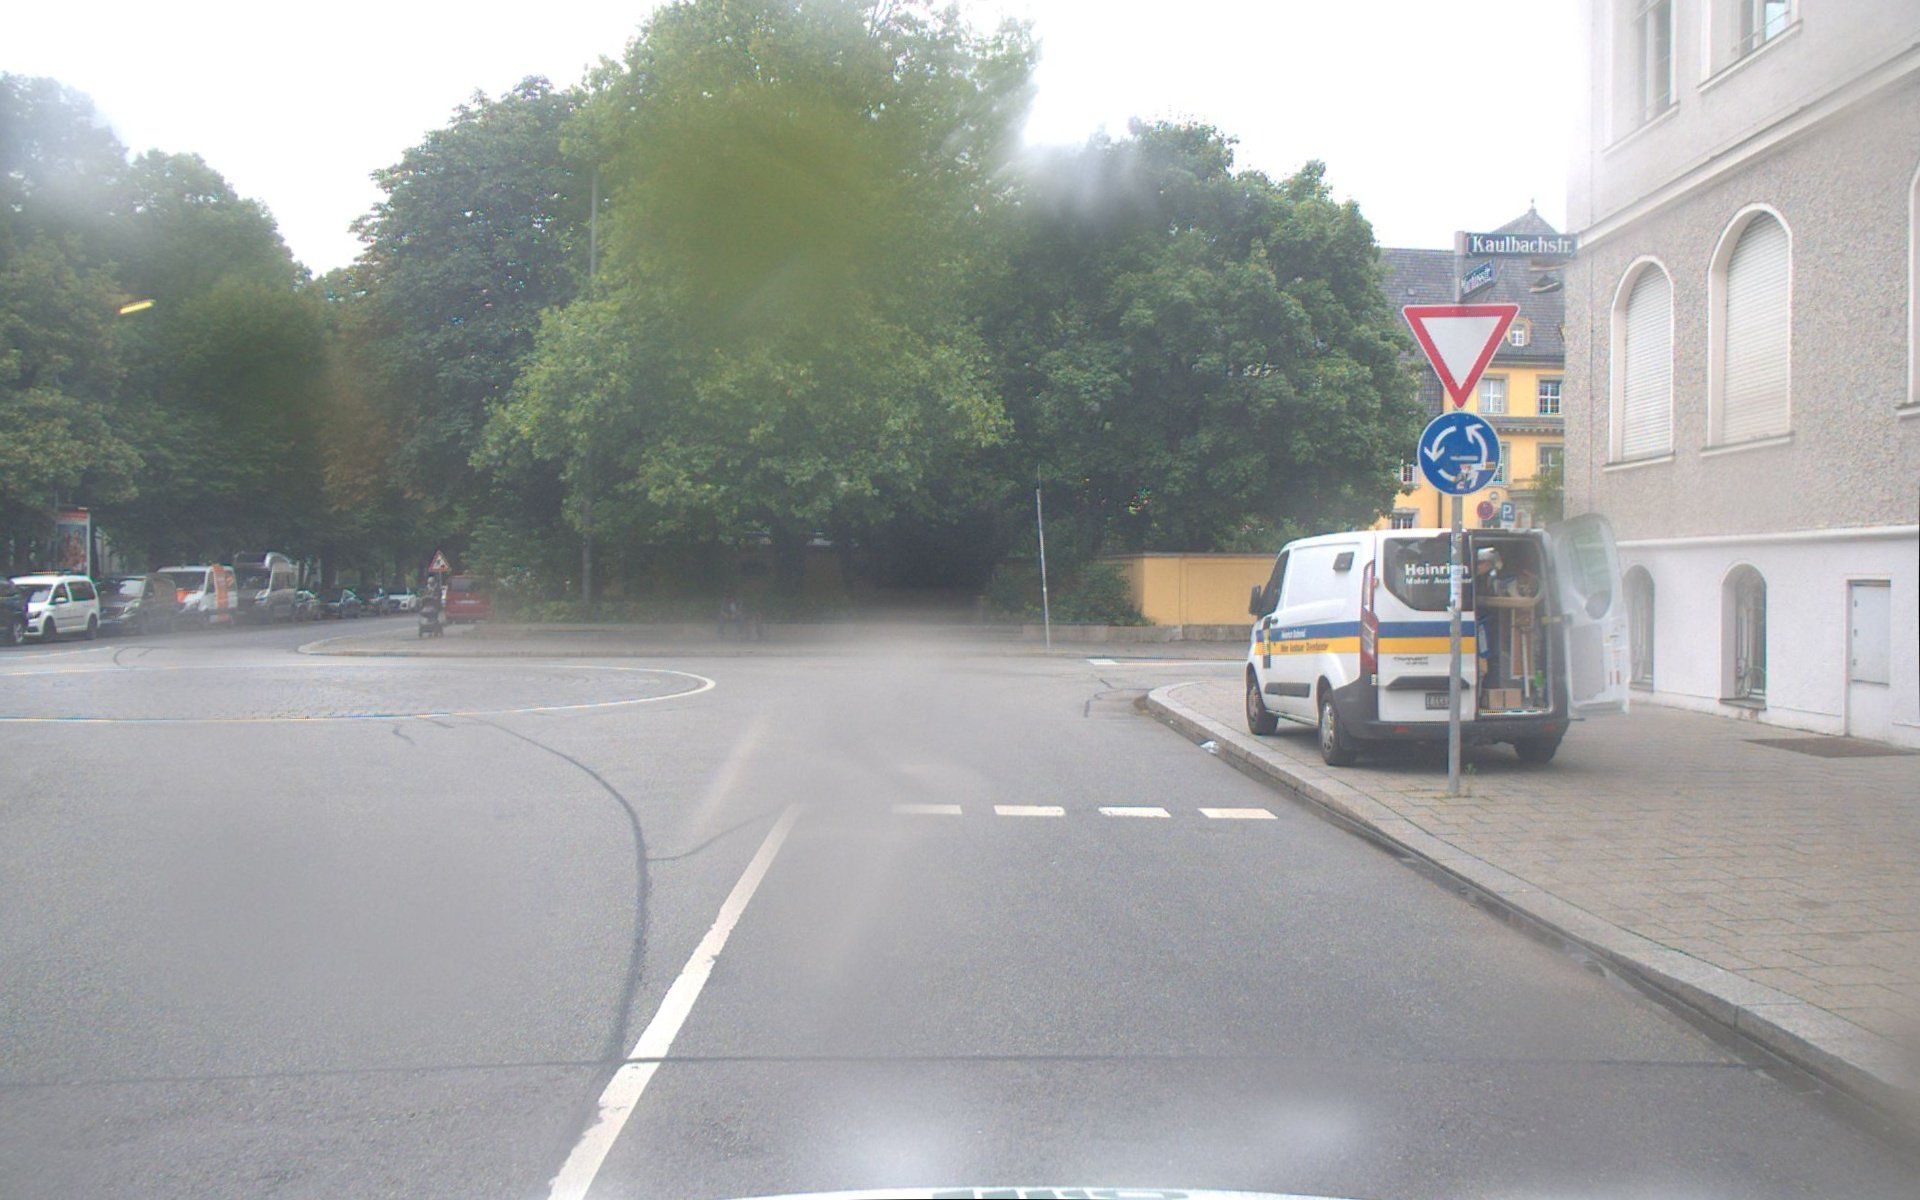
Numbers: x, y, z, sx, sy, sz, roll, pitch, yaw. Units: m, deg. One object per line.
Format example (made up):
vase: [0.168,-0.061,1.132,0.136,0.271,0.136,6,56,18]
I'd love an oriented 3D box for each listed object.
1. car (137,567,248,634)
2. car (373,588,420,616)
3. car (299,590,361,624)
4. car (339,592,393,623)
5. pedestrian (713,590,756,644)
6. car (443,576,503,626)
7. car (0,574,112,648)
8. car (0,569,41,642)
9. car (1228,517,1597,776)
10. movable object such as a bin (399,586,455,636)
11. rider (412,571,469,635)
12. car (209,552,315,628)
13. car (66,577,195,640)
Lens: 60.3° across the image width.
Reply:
car: [-27.463,0.010,59.372,2.070,2.290,5.188,0,0,-7]
car: [-33.643,0.111,98.877,1.860,1.599,4.067,0,0,-7]
car: [-30.214,0.316,79.436,1.860,1.565,4.067,0,0,-7]
car: [-31.537,0.400,87.893,1.860,1.599,4.067,0,0,-7]
pedestrian: [-5.185,0.383,38.067,0.794,1.209,0.920,0,0,4]
car: [-19.689,0.030,67.033,2.005,1.956,4.432,0,0,-12]
car: [-25.352,0.273,45.701,1.890,1.928,4.859,0,0,-8]
car: [-24.557,0.130,40.326,2.025,1.798,4.900,0,0,-7]
car: [3.952,0.332,15.441,1.877,1.996,4.925,-1,1,-3]
movable object such as a bin: [-14.362,0.279,44.586,1.055,1.289,1.087,-2,0,6]
rider: [-14.278,0.069,45.447,1.059,1.696,1.140,-2,0,6]
car: [-28.853,-0.412,68.639,2.290,2.973,6.569,0,0,-7]
car: [-26.116,0.234,52.288,2.025,1.891,4.979,0,0,-7]
